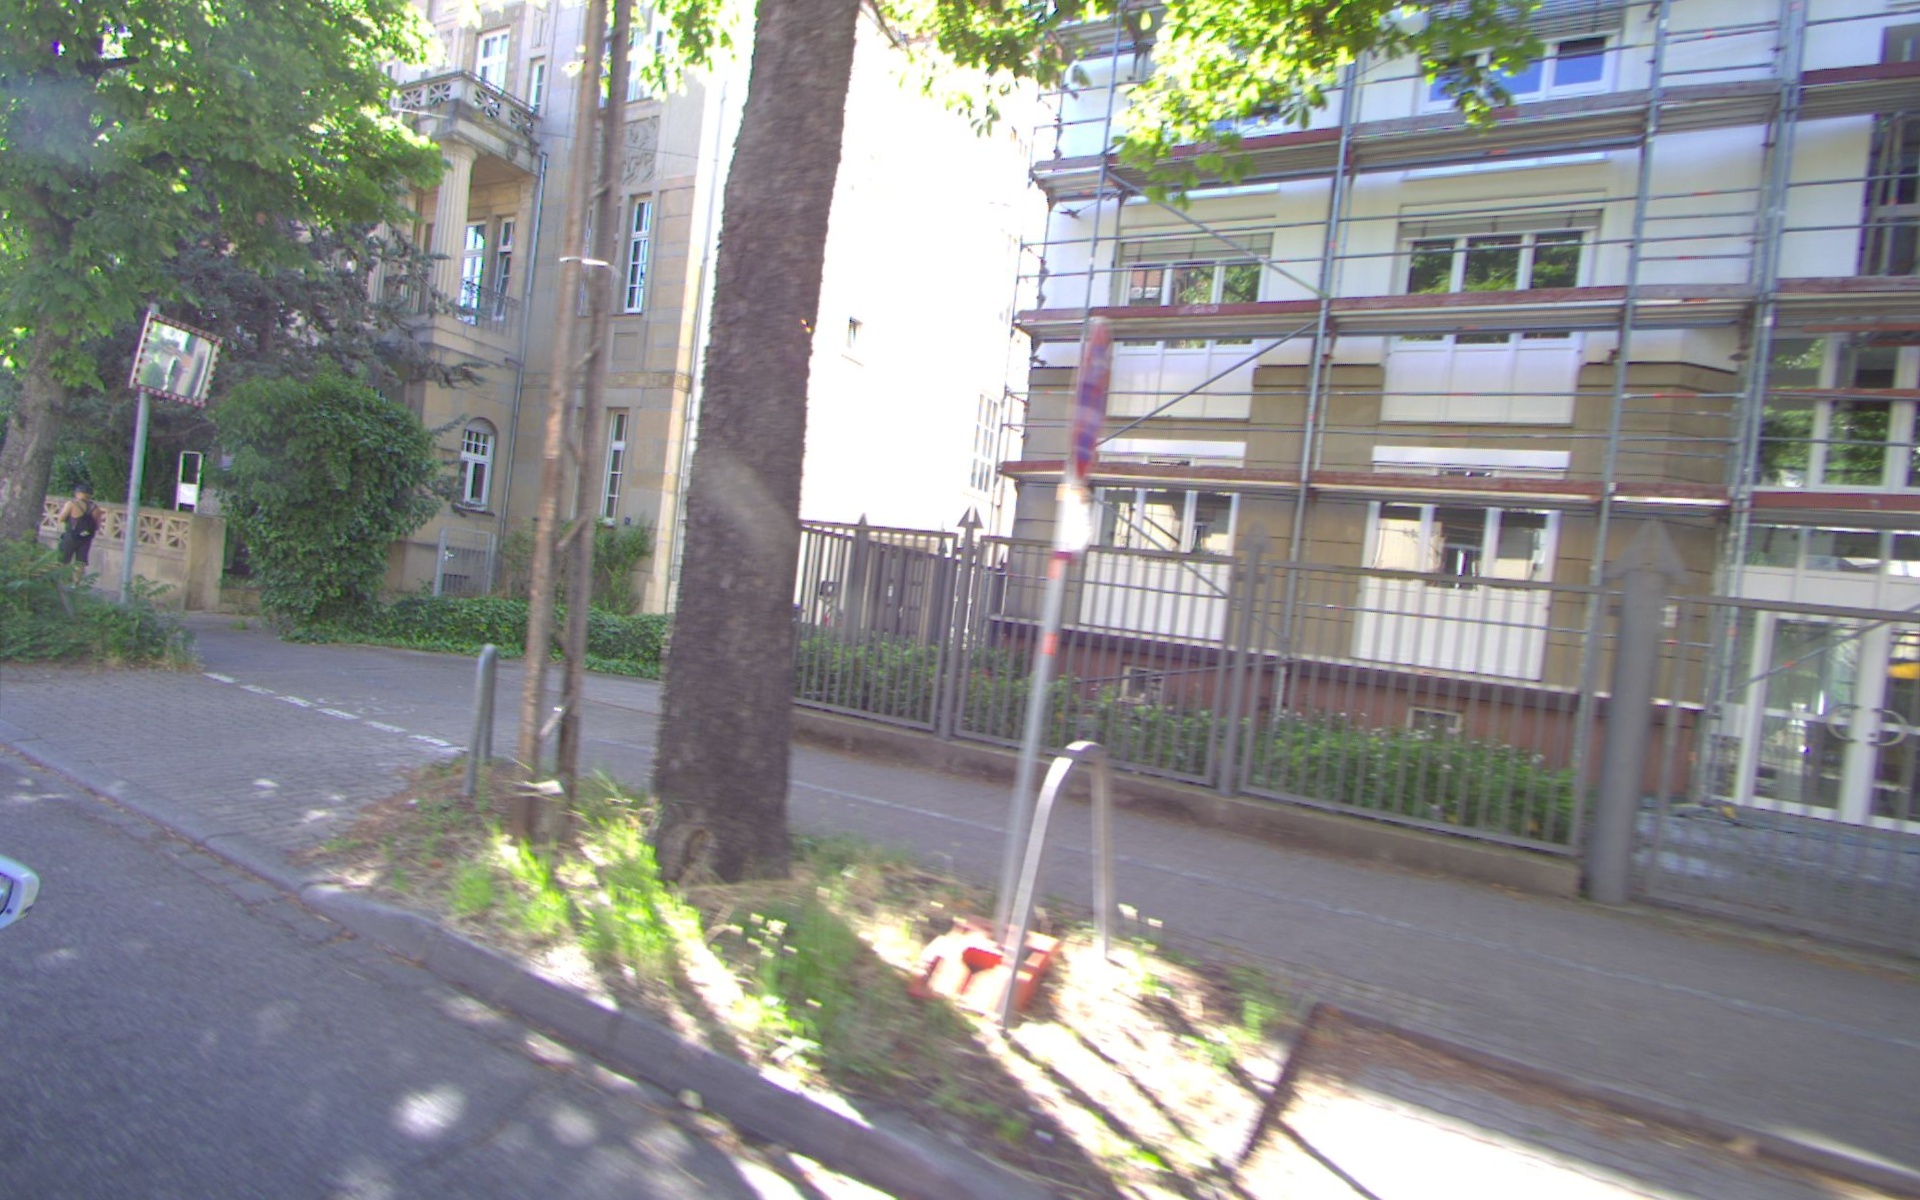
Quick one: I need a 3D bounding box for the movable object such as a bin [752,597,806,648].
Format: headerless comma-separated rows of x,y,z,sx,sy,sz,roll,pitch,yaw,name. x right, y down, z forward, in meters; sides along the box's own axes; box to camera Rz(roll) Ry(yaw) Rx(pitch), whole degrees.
-3.815,0.486,21.227,0.637,0.966,0.835,6,-1,30,movable object such as a bin

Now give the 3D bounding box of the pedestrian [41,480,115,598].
-13.218,-0.908,15.081,0.636,1.693,0.592,6,2,31,pedestrian

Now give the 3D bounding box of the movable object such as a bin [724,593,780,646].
-4.230,0.409,20.465,0.637,0.966,0.835,6,-1,30,movable object such as a bin
